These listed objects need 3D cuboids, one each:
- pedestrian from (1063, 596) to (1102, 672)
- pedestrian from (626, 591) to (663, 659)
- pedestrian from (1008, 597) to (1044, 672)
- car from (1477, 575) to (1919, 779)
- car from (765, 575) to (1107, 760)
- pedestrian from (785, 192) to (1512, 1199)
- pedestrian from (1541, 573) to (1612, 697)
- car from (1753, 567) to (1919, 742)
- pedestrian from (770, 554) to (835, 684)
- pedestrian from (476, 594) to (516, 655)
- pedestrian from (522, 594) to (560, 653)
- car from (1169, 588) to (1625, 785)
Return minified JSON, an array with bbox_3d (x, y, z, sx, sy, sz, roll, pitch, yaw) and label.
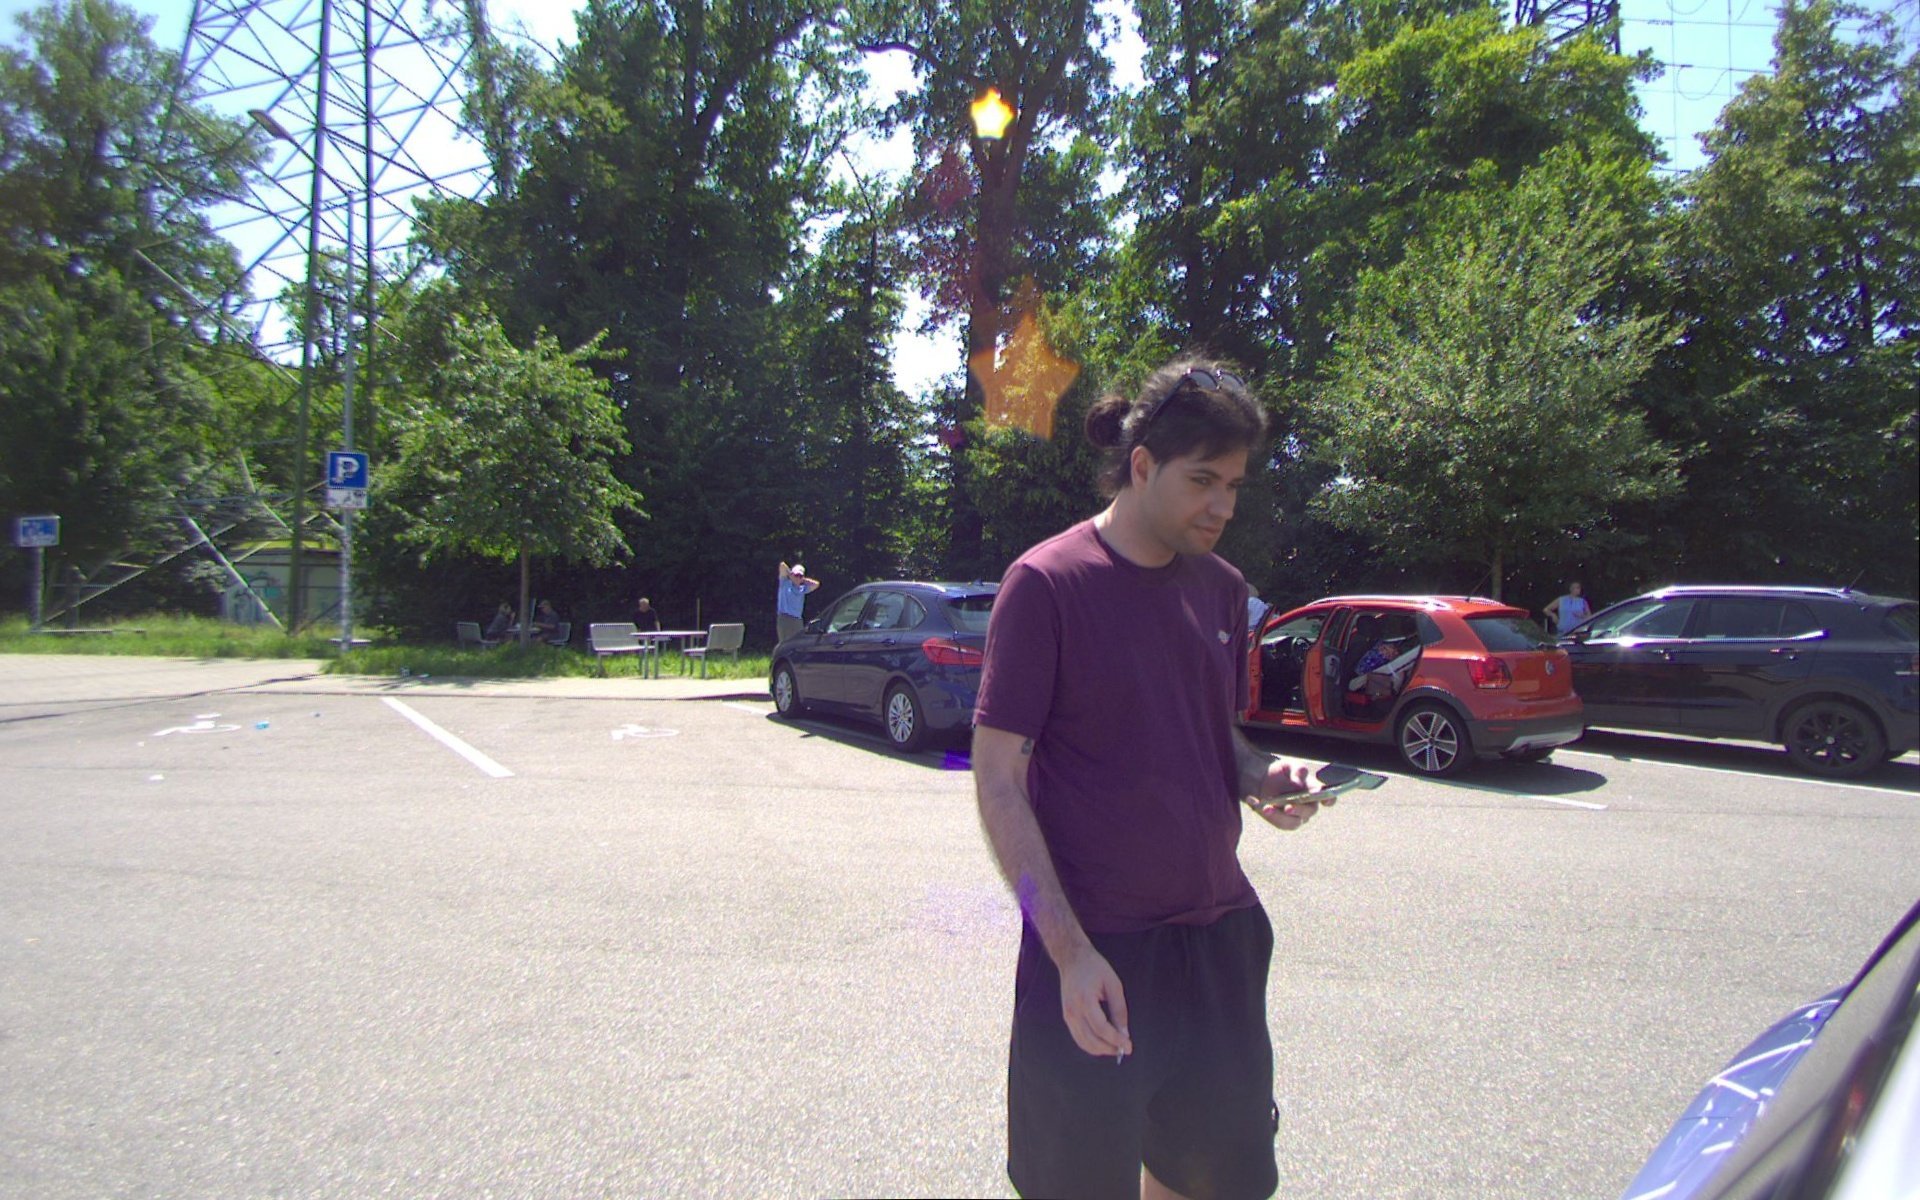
[{"bbox_3d":[2.055,0.570,17.026,0.576,1.251,0.697,0,-1,1],"label":"pedestrian"},{"bbox_3d":[-6.648,0.510,21.329,0.553,1.408,0.700,0,0,2],"label":"pedestrian"},{"bbox_3d":[1.108,0.575,17.092,0.576,1.251,0.697,0,-1,1],"label":"pedestrian"},{"bbox_3d":[7.258,0.587,9.718,1.707,1.607,3.732,1,0,-39],"label":"car"},{"bbox_3d":[-0.445,0.548,10.677,1.776,1.562,3.940,1,0,-34],"label":"car"},{"bbox_3d":[0.310,0.490,1.681,0.847,1.857,0.862,0,0,-45],"label":"pedestrian"},{"bbox_3d":[9.354,0.517,15.376,0.751,1.854,0.520,0,0,2],"label":"pedestrian"},{"bbox_3d":[10.827,0.543,9.769,1.961,1.734,4.620,0,1,-32],"label":"car"},{"bbox_3d":[-2.220,0.256,14.250,0.662,1.754,0.835,1,0,-28],"label":"pedestrian"},{"bbox_3d":[-10.477,0.543,22.852,0.687,1.352,0.563,0,0,-40],"label":"pedestrian"},{"bbox_3d":[-9.720,0.533,23.491,0.687,1.352,0.563,0,0,-40],"label":"pedestrian"},{"bbox_3d":[3.893,0.637,9.603,1.559,1.467,3.737,1,0,-33],"label":"car"}]
